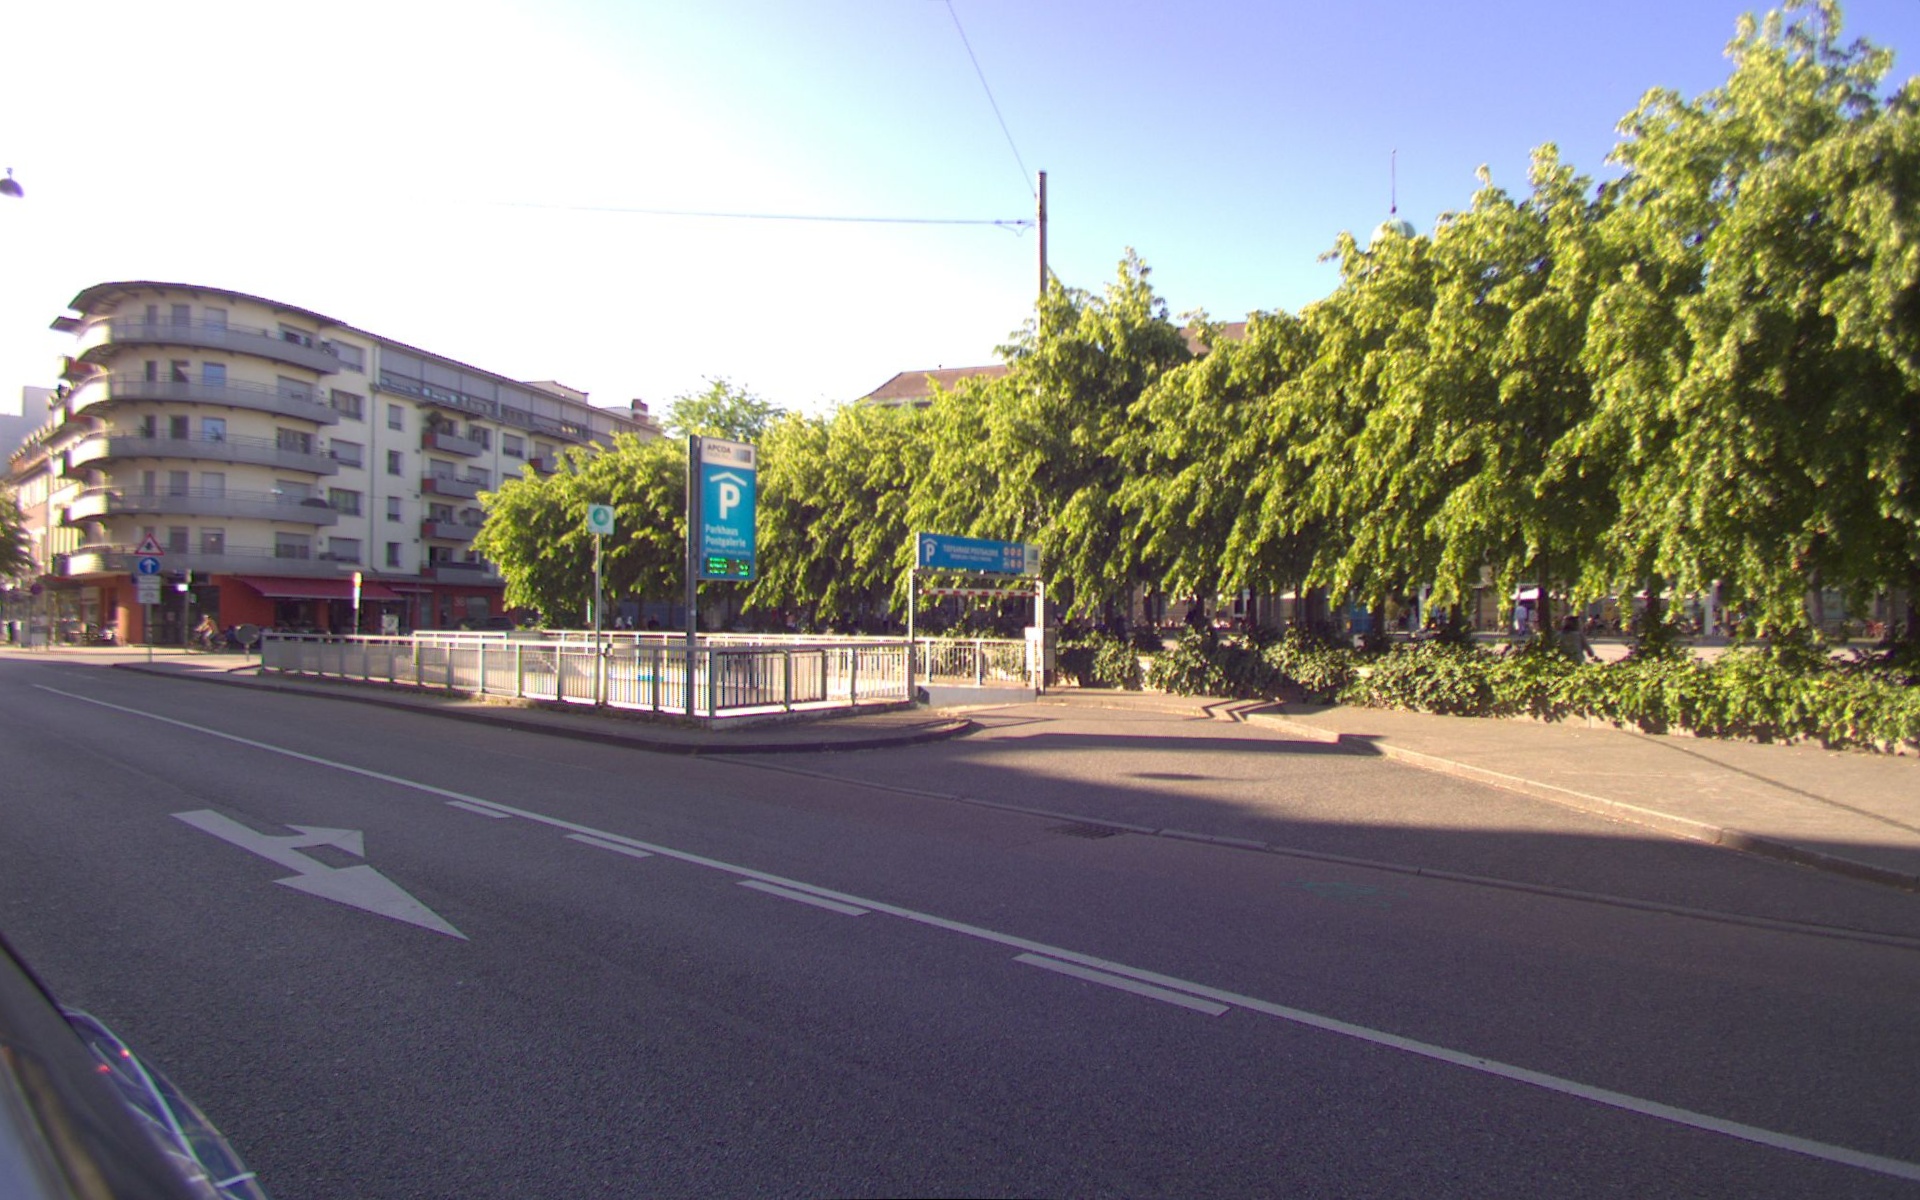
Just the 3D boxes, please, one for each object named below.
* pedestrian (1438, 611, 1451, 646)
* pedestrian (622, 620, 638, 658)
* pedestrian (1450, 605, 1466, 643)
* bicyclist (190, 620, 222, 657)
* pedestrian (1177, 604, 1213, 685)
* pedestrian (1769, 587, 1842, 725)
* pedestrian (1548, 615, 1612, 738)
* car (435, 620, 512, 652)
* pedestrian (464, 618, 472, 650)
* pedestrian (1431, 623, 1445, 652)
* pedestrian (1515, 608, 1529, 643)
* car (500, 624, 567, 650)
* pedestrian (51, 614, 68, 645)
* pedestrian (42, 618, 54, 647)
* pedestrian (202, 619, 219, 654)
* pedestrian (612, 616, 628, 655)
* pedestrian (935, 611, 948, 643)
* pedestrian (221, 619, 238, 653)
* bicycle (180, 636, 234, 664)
[{"bbox_3d":[25.630,1.499,53.501,0.580,1.806,0.596,-1,-1,27],"label":"pedestrian"},{"bbox_3d":[-15.692,1.849,48.090,0.574,1.806,0.601,-1,0,0],"label":"pedestrian"},{"bbox_3d":[23.549,1.129,47.858,0.599,1.806,0.576,-1,-1,31],"label":"pedestrian"},{"bbox_3d":[-34.389,1.743,46.176,0.960,1.627,0.715,0,0,-10],"label":"bicyclist"},{"bbox_3d":[5.537,1.034,23.817,0.674,1.870,0.577,-1,-1,30],"label":"pedestrian"},{"bbox_3d":[11.765,0.769,14.103,0.597,1.870,0.578,-1,0,22],"label":"pedestrian"},{"bbox_3d":[9.772,1.177,15.947,0.732,1.870,0.574,-1,-1,44],"label":"pedestrian"},{"bbox_3d":[-30.314,2.205,63.215,1.938,1.927,4.403,-1,-1,16],"label":"car"},{"bbox_3d":[-26.202,1.800,53.879,0.318,1.680,0.362,0,-1,-17],"label":"pedestrian"},{"bbox_3d":[29.934,2.363,63.415,0.593,1.806,0.583,-1,0,0],"label":"pedestrian"},{"bbox_3d":[29.566,1.322,53.215,0.598,1.806,0.577,-1,-1,27],"label":"pedestrian"},{"bbox_3d":[-28.881,2.486,68.619,1.938,1.633,4.272,-1,-1,16],"label":"car"},{"bbox_3d":[-48.754,1.603,54.801,0.792,1.634,0.563,-1,-1,37],"label":"pedestrian"},{"bbox_3d":[-49.103,1.751,54.484,0.515,1.541,0.371,-1,-1,37],"label":"pedestrian"},{"bbox_3d":[-37.521,1.817,50.640,0.642,1.721,0.568,-2,-2,43],"label":"pedestrian"},{"bbox_3d":[-15.741,1.630,46.868,0.574,1.806,0.602,0,0,-5],"label":"pedestrian"},{"bbox_3d":[-1.054,1.538,57.783,0.578,1.806,0.597,-1,0,20],"label":"pedestrian"},{"bbox_3d":[-36.745,1.814,50.928,0.642,1.721,0.568,-2,-2,43],"label":"pedestrian"},{"bbox_3d":[-34.343,2.269,46.180,1.843,1.221,0.715,0,0,-10],"label":"bicycle"}]
